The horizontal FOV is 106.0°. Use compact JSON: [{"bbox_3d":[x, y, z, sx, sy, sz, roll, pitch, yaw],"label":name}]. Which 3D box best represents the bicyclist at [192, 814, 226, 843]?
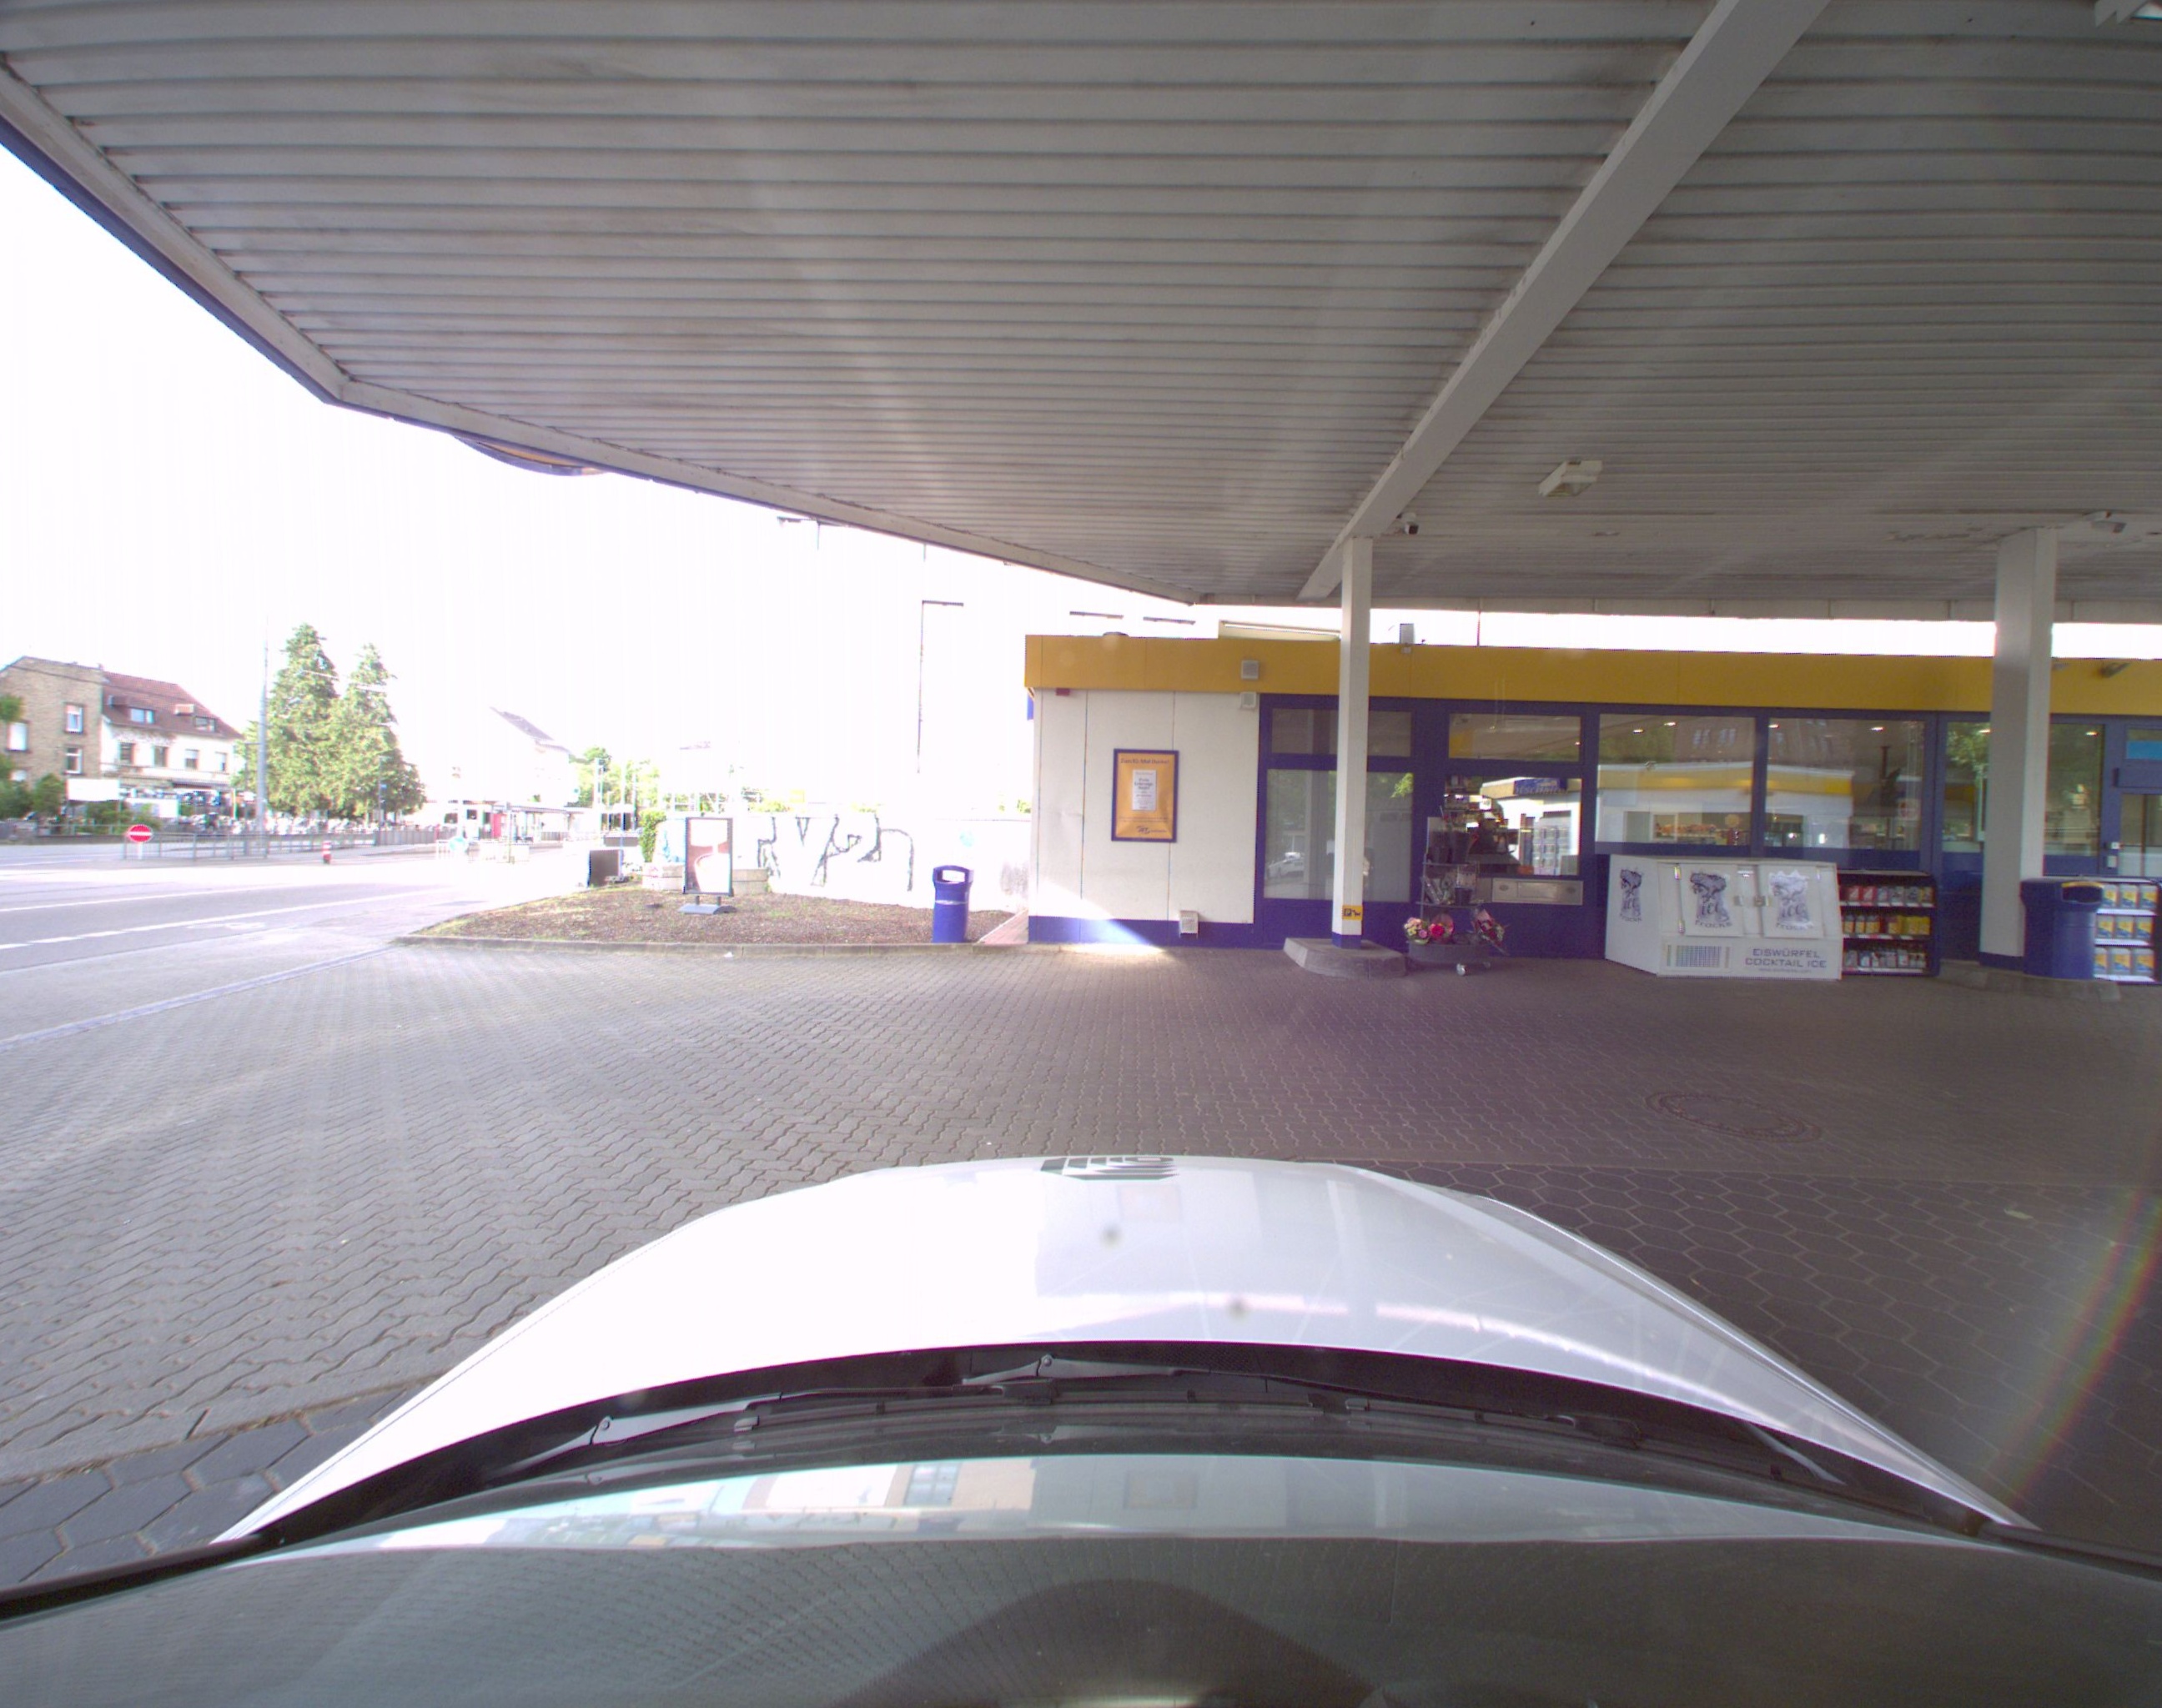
[{"bbox_3d":[-44.631,-1.308,41.689,0.752,1.409,0.916,5,0,-18],"label":"bicyclist"}]

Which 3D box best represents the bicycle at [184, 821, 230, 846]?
[{"bbox_3d":[-44.607,-1.048,41.589,0.752,1.203,1.810,5,0,-18],"label":"bicycle"}]
